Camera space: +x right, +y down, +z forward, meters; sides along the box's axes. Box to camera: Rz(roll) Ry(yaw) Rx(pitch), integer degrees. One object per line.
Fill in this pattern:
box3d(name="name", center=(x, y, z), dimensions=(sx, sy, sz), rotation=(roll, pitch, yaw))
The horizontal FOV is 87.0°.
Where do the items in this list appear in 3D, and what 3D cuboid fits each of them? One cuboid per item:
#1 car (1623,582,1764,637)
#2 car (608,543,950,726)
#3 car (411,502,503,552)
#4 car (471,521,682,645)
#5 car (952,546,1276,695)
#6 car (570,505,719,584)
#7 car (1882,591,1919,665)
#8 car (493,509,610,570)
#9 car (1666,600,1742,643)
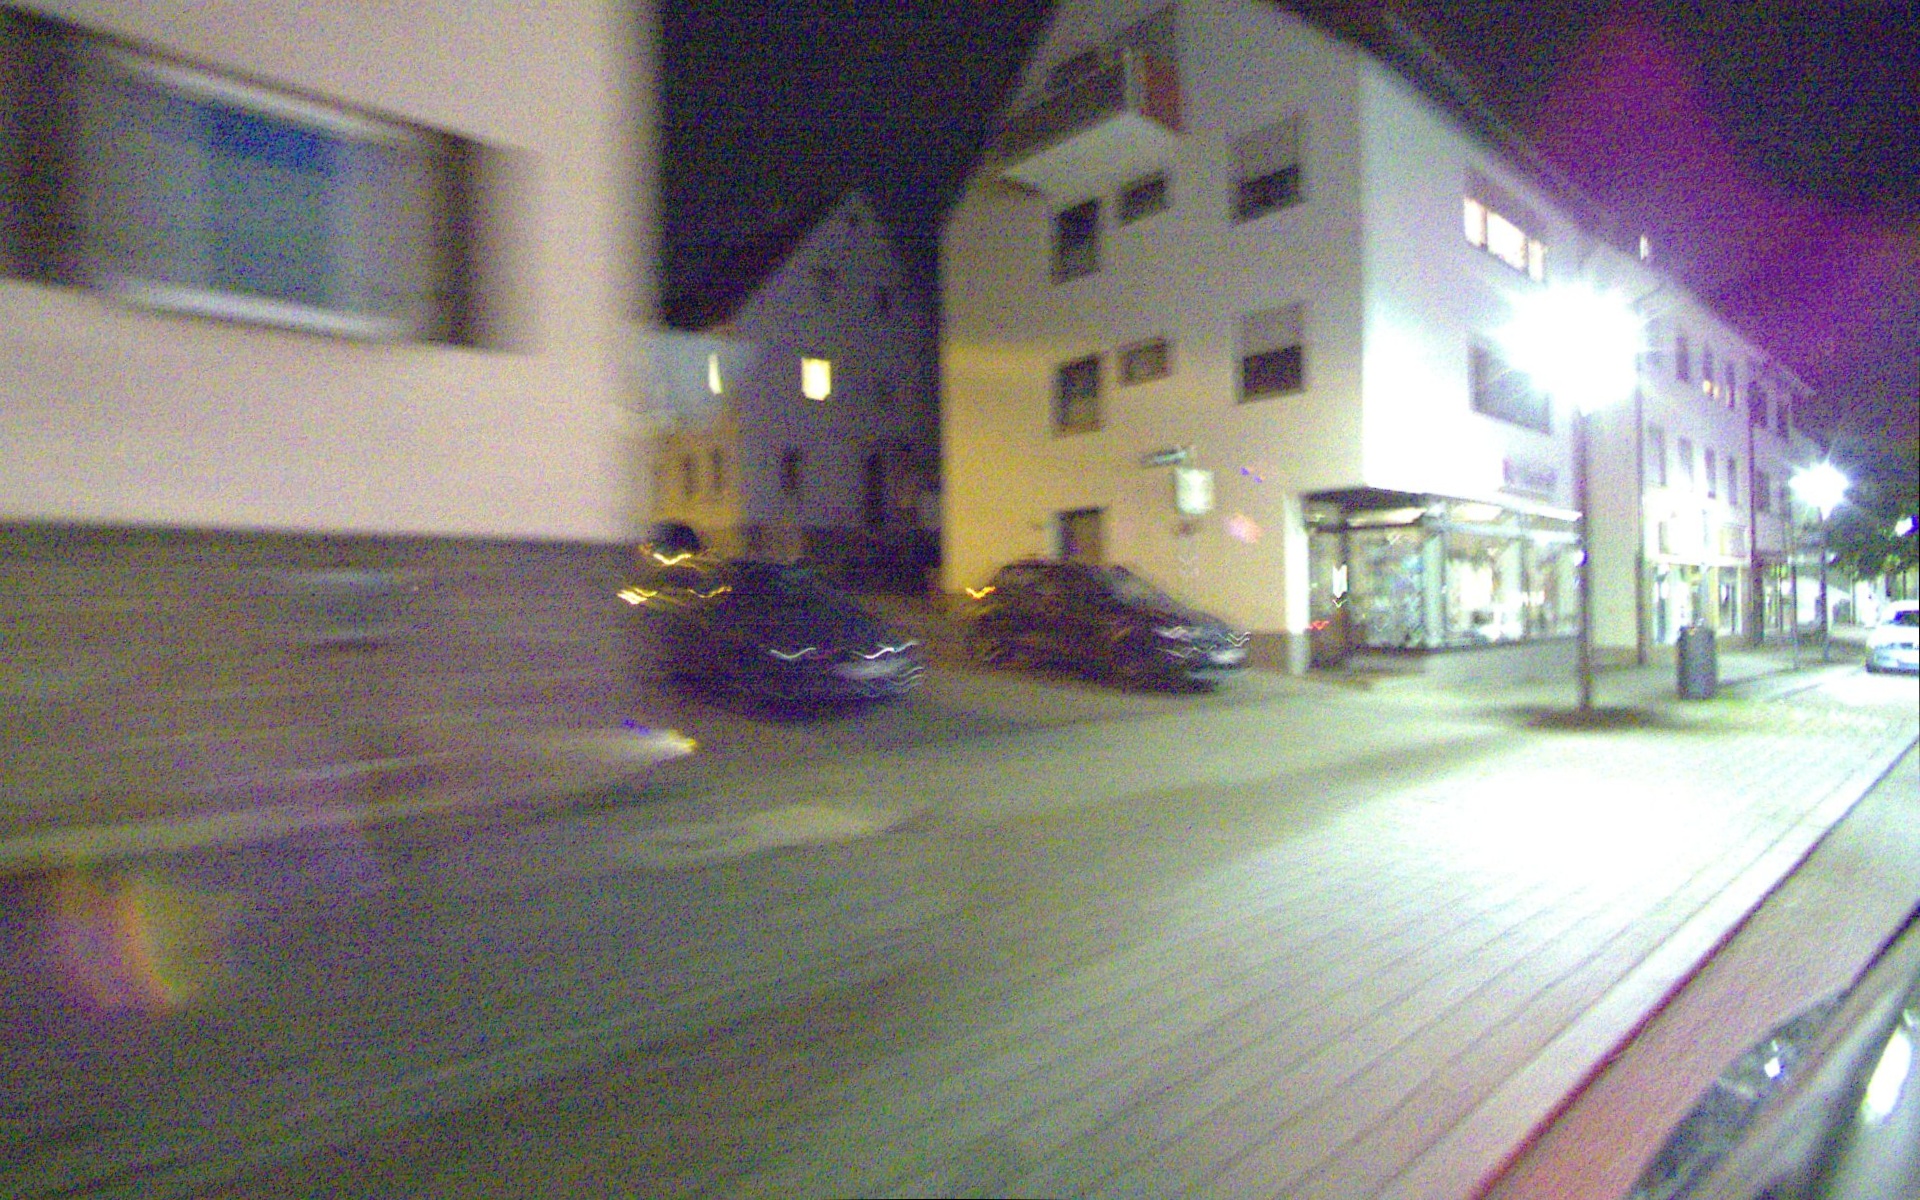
box3d(name="car", center=(33.702, 0.393, 46.613), dimensions=(1.902, 1.888, 4.855), rotation=(-2, 8, -43))
box3d(name="car", center=(-2.098, 0.207, 10.864), dimensions=(1.722, 1.494, 3.993), rotation=(-1, 4, -43))
box3d(name="car", center=(-17.539, -2.562, 35.198), dimensions=(1.719, 1.499, 4.053), rotation=(1, 4, -44))
box3d(name="car", center=(-5.969, -0.364, 15.500), dimensions=(1.618, 1.493, 4.056), rotation=(-2, 7, -43))
box3d(name="car", center=(1.966, 0.173, 13.828), dimensions=(1.786, 1.600, 4.082), rotation=(1, 3, -44))
box3d(name="car", center=(-7.899, -1.412, 25.128), dimensions=(1.864, 1.667, 4.053), rotation=(1, 4, -44))
box3d(name="car", center=(20.807, 0.554, 21.384), dimensions=(3.614, 1.478, 1.676), rotation=(0, 1, -43))
box3d(name="car", center=(-11.881, -1.766, 29.287), dimensions=(1.752, 1.499, 3.988), rotation=(1, 4, -44))
box3d(name="car", center=(31.246, 0.864, 42.475), dimensions=(3.989, 1.477, 1.808), rotation=(-2, 6, -43))
